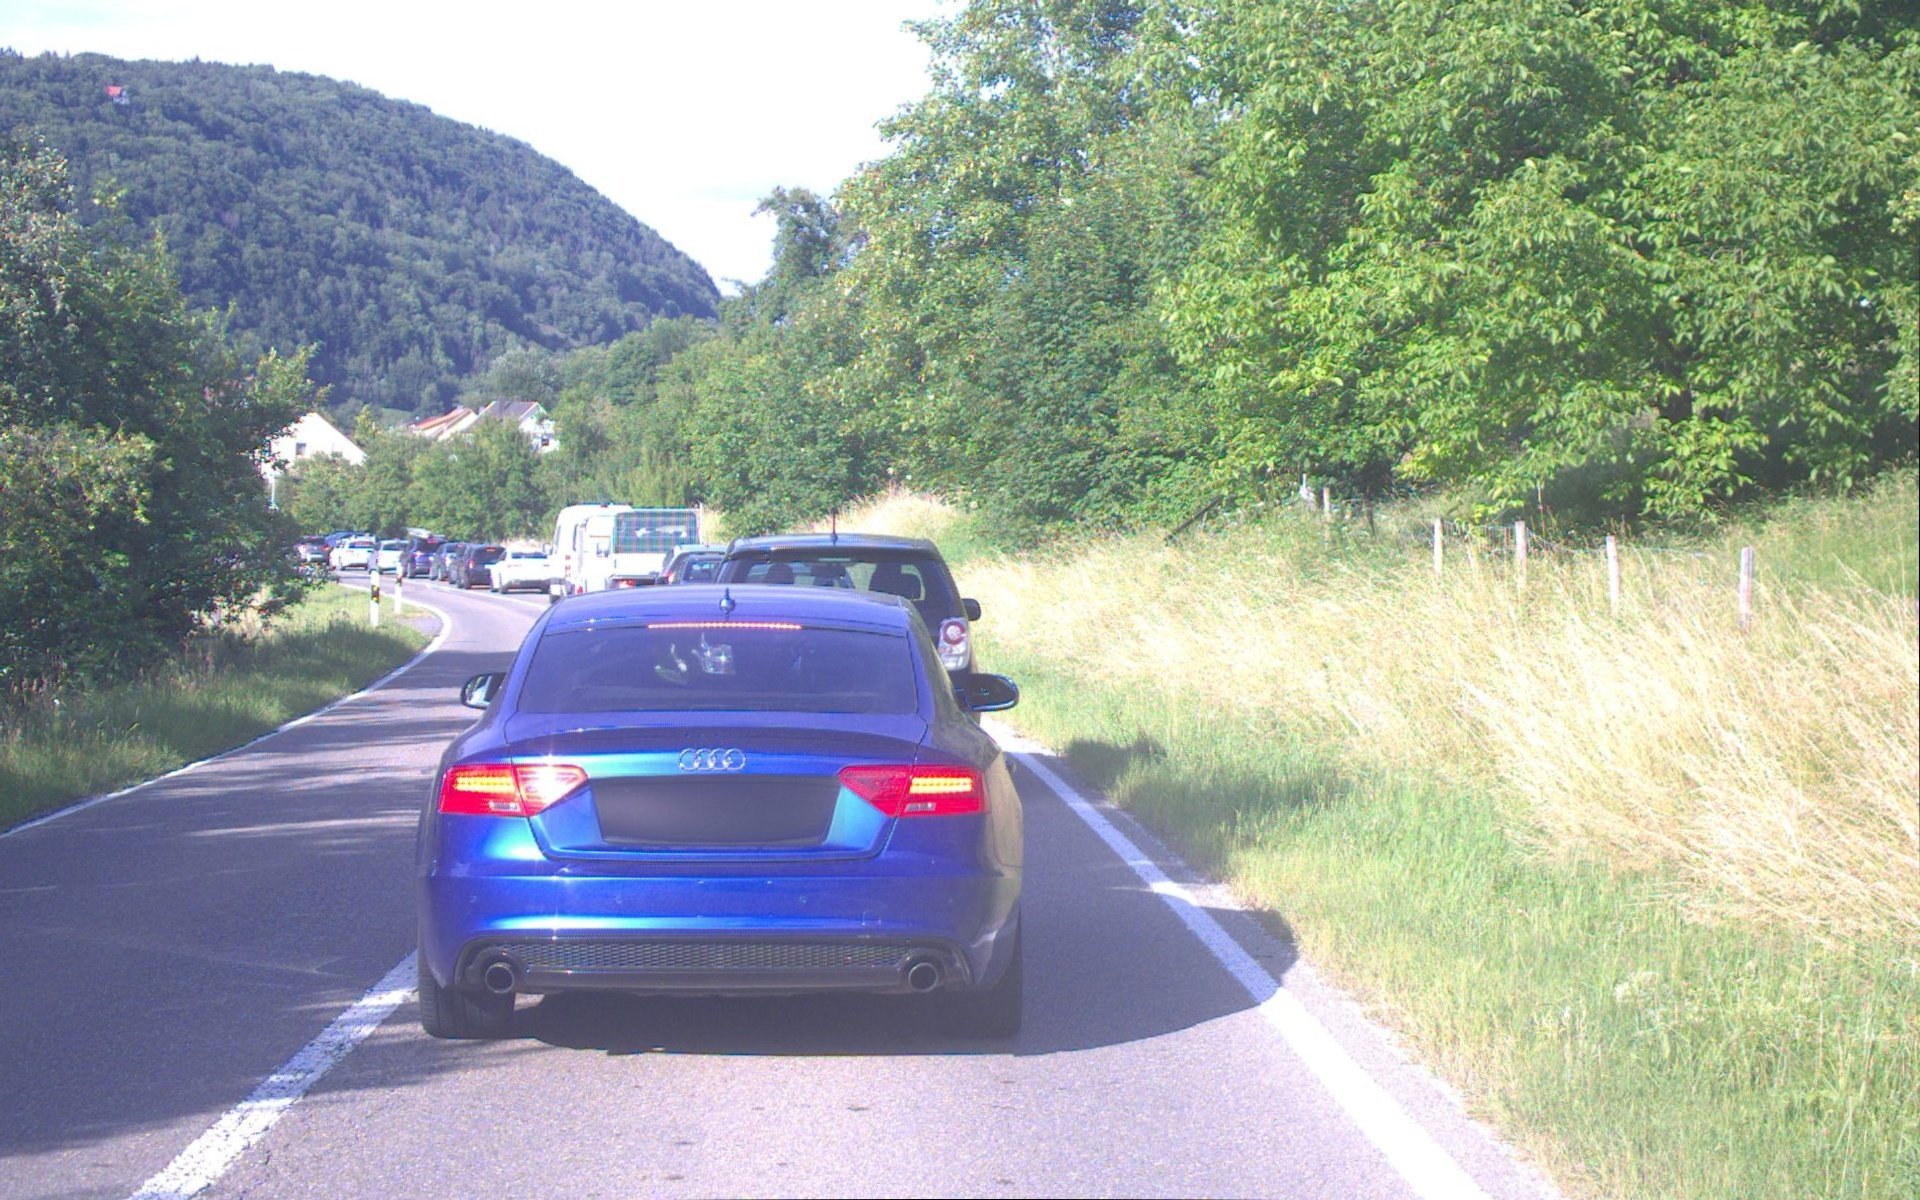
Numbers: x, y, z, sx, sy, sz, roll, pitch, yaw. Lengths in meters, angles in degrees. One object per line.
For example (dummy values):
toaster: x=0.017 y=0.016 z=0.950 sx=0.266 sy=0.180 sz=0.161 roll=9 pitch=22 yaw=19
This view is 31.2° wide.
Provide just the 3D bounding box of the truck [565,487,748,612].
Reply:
truck: x=-7.095 y=-1.164 z=78.913 sx=2.863 sy=2.656 sz=10.396 roll=1 pitch=1 yaw=-12

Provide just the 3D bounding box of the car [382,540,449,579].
car: x=-21.586 y=-1.607 z=136.216 sx=1.993 sy=1.477 sz=4.001 roll=1 pitch=0 yaw=-18

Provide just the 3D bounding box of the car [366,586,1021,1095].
car: x=-0.752 y=0.653 z=11.442 sx=1.793 sy=1.355 sz=4.000 roll=0 pitch=1 yaw=-1

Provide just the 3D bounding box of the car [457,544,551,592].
car: x=-14.300 y=-1.009 z=107.723 sx=1.993 sy=1.477 sz=4.001 roll=0 pitch=0 yaw=-22

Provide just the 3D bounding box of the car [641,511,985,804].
car: x=-0.915 y=0.321 z=22.117 sx=1.993 sy=1.696 sz=4.000 roll=1 pitch=0 yaw=-2

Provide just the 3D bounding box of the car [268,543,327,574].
car: x=-32.456 y=-2.038 z=168.281 sx=1.993 sy=1.477 sz=4.001 roll=0 pitch=0 yaw=-24

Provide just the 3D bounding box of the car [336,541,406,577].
car: x=-24.796 y=-1.736 z=144.638 sx=1.993 sy=1.477 sz=4.001 roll=0 pitch=0 yaw=-24

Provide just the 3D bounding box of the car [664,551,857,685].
car: x=-2.151 y=0.174 z=38.048 sx=1.993 sy=1.382 sz=4.000 roll=1 pitch=0 yaw=-2

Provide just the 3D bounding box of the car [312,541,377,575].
car: x=-27.812 y=-1.889 z=155.295 sx=1.993 sy=1.477 sz=4.001 roll=0 pitch=0 yaw=-24

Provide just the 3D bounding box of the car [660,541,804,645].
car: x=-3.388 y=-0.114 z=51.789 sx=1.993 sy=1.477 sz=4.000 roll=1 pitch=0 yaw=-2

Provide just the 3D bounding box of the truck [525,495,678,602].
truck: x=-9.655 y=-1.371 z=91.616 sx=2.863 sy=2.656 sz=10.648 roll=1 pitch=1 yaw=-12

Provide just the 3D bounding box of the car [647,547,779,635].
car: x=-4.389 y=-0.173 z=60.704 sx=1.993 sy=1.477 sz=4.001 roll=1 pitch=0 yaw=-9

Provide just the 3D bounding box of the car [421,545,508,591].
car: x=-16.603 y=-1.071 z=115.016 sx=1.993 sy=1.477 sz=4.001 roll=0 pitch=0 yaw=-22
